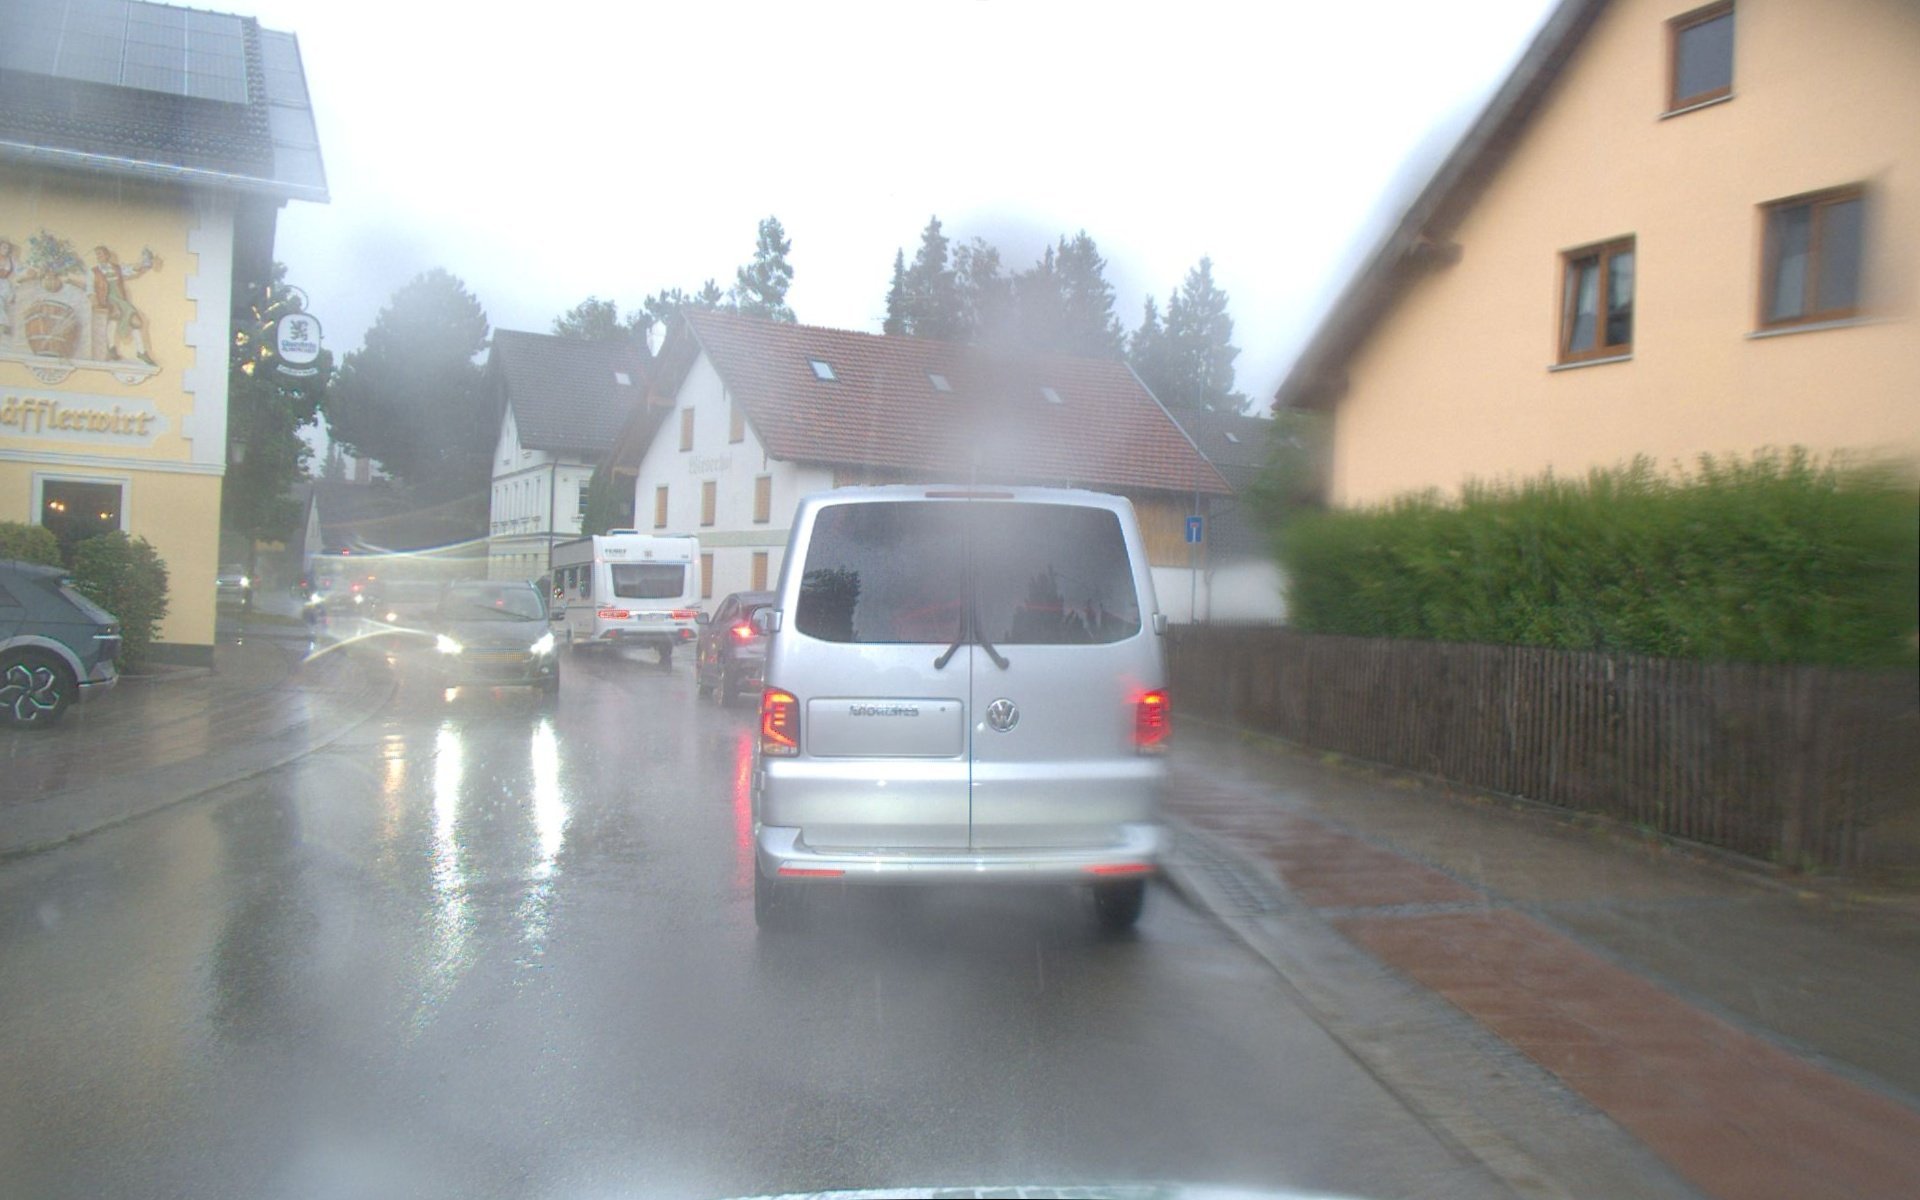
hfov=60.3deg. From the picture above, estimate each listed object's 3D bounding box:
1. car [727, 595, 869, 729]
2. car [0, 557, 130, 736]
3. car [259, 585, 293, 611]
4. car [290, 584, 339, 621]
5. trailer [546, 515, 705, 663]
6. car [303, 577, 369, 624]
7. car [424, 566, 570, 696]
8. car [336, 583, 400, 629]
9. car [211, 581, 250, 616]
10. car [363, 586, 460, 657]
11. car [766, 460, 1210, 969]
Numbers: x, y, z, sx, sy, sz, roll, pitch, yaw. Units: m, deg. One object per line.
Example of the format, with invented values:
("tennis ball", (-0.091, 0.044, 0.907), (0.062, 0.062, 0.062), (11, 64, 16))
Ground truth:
("car", (-2.385, 0.777, 23.412), (1.677, 1.611, 4.675), (-1, 1, -9))
("car", (-10.516, 0.309, 15.857), (4.426, 1.594, 1.822), (5, 0, -29))
("car", (-55.221, -0.156, 133.439), (2.143, 1.932, 4.972), (3, 0, -27))
("car", (-37.490, 0.121, 96.048), (2.143, 1.932, 4.972), (3, 0, -27))
("trailer", (-7.443, -0.227, 36.248), (2.240, 2.955, 6.089), (1, 0, -23))
("car", (-22.300, 0.020, 59.052), (1.571, 1.638, 3.499), (0, 0, -32))
("car", (-7.043, 0.417, 24.901), (1.893, 1.775, 4.168), (0, 0, -19))
("car", (-27.370, 0.246, 76.404), (2.143, 1.932, 4.972), (3, 0, -27))
("car", (-43.678, -0.088, 98.936), (1.829, 2.006, 4.659), (0, 0, -28))
("car", (-13.950, 0.528, 41.923), (1.733, 1.707, 3.963), (0, 0, -28))
("car", (0.104, 0.453, 9.058), (1.740, 1.997, 5.073), (0, 0, 0))
